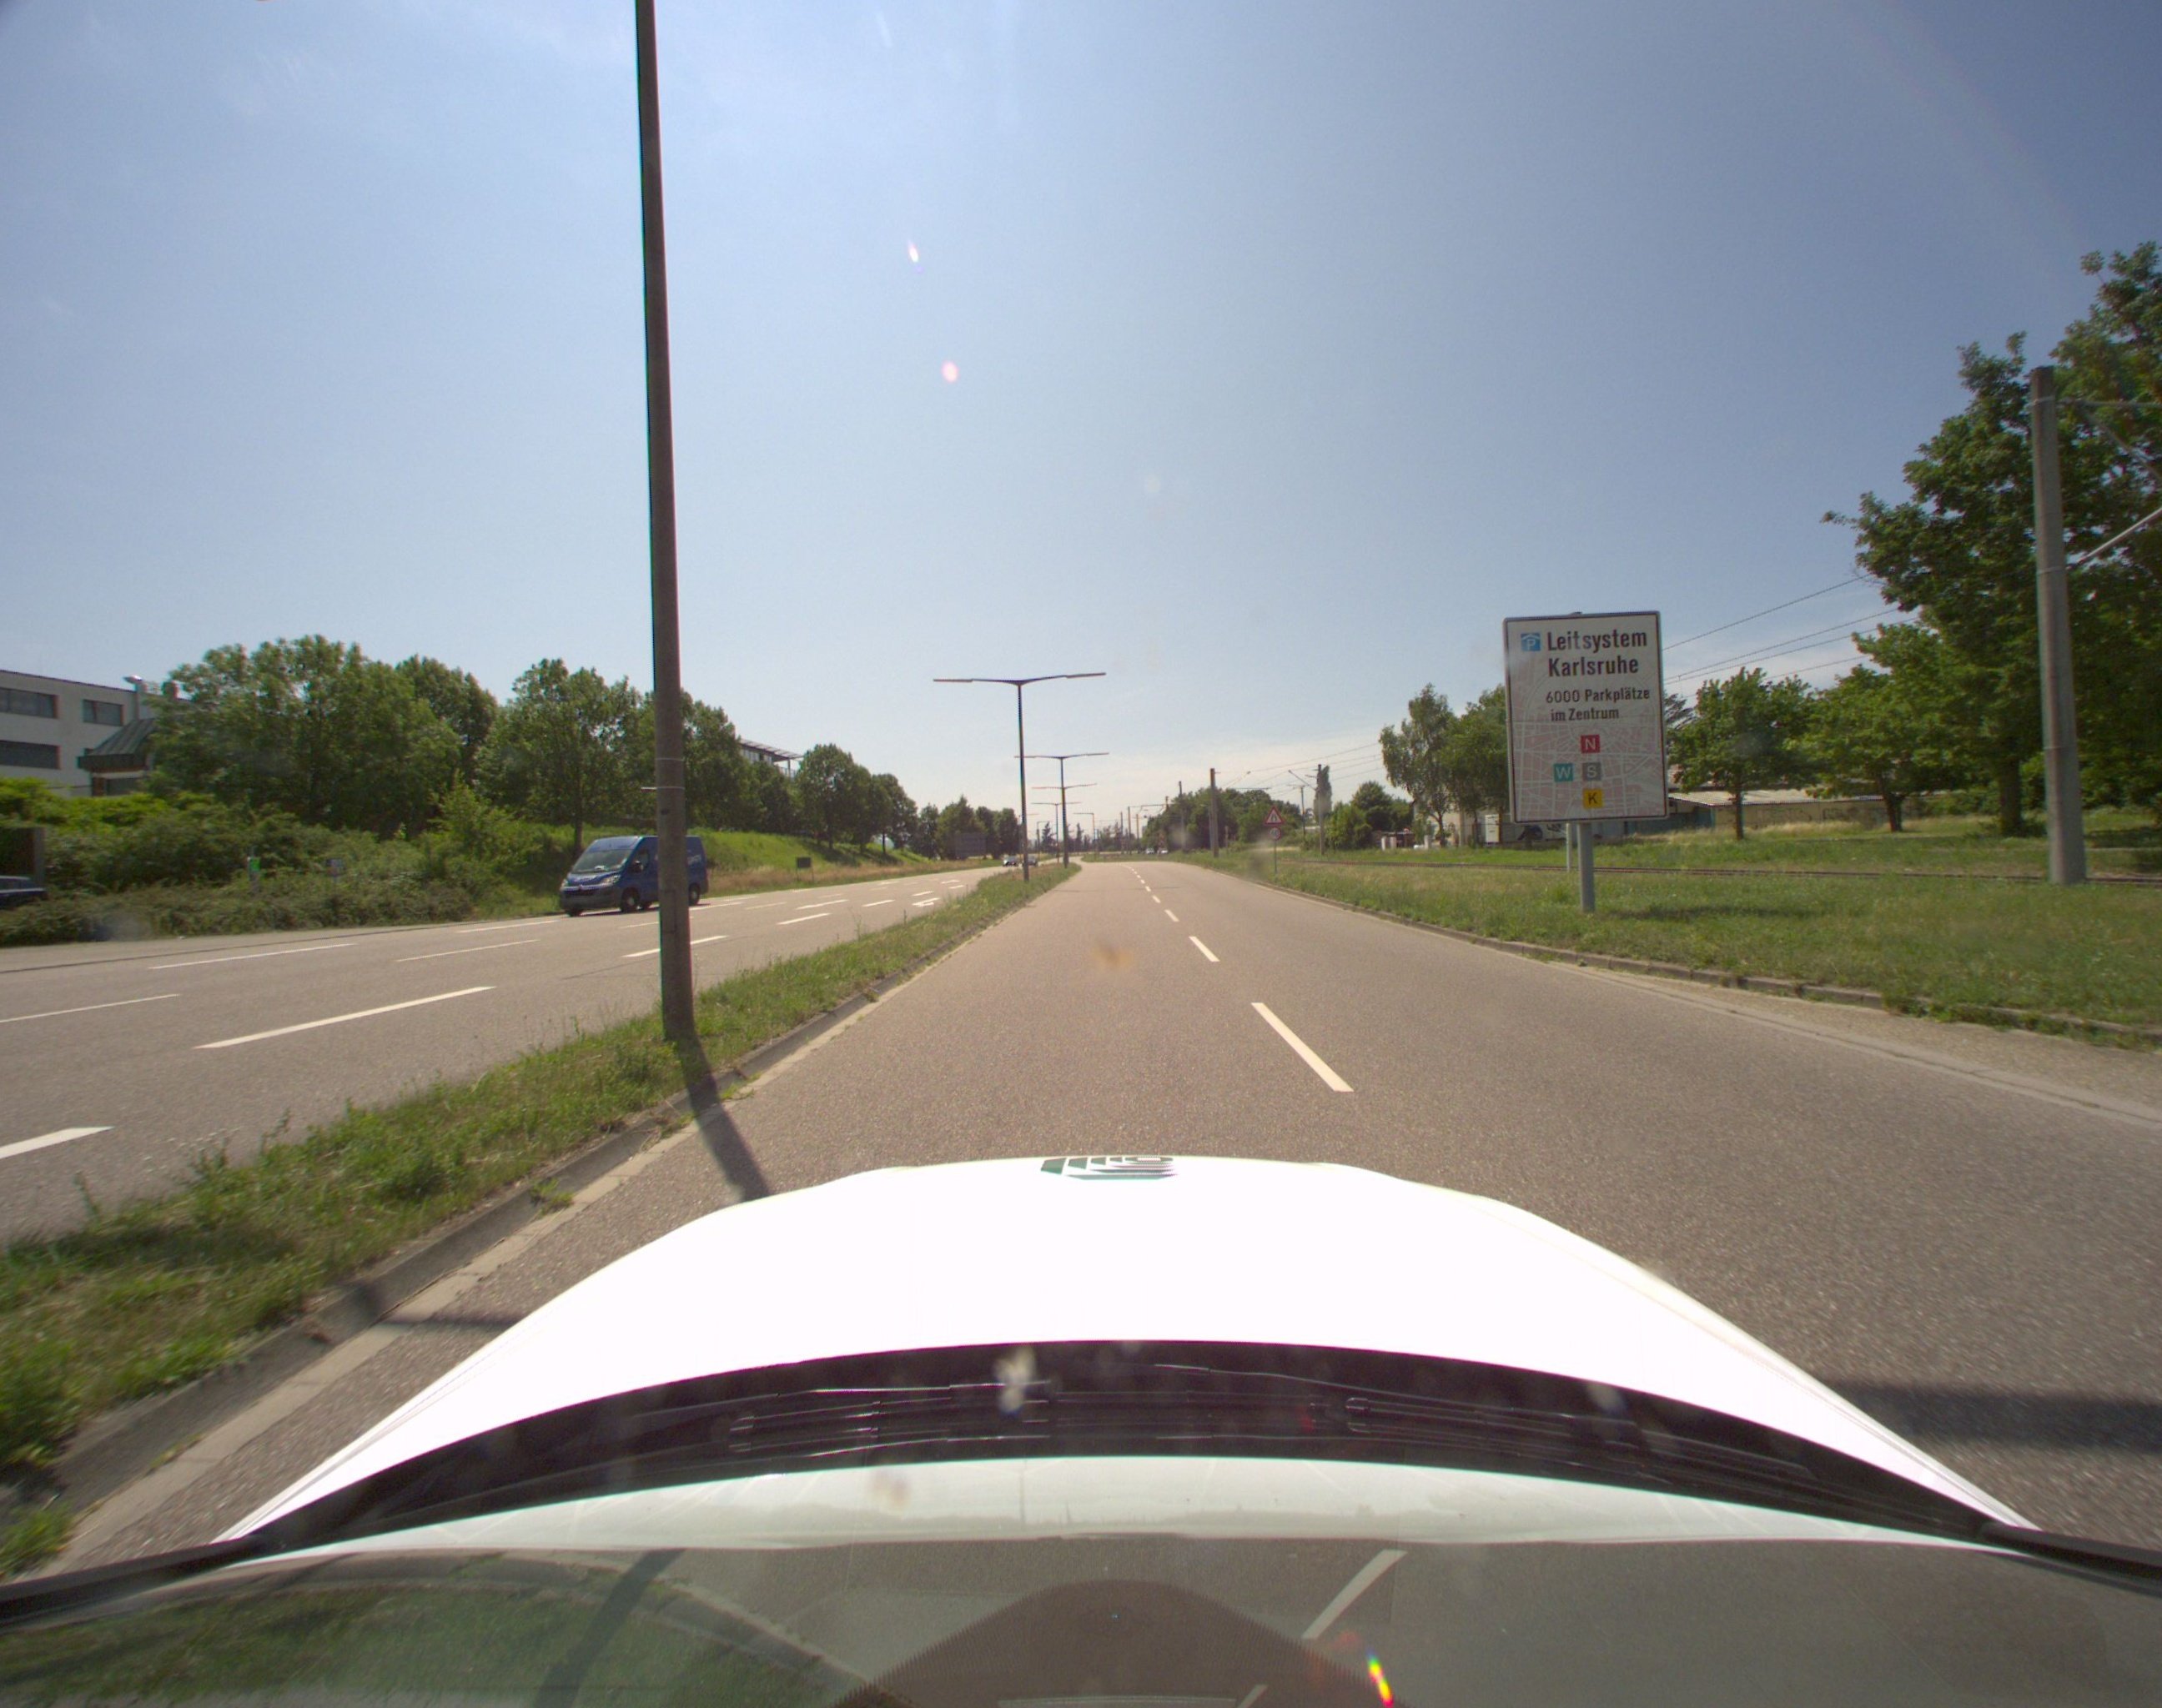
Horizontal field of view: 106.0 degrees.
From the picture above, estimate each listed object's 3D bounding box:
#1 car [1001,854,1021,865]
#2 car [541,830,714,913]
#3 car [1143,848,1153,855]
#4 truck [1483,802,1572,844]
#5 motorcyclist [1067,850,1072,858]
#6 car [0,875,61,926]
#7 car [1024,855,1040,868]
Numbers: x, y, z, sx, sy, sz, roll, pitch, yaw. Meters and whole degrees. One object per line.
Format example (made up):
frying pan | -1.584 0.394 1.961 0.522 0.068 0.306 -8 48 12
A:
car | -9.403 0.754 109.410 1.985 1.360 4.669 -3 0 3
car | -14.786 0.513 27.101 2.164 2.411 5.678 -2 0 4
car | 14.833 -0.559 181.336 1.668 1.397 3.645 -1 -1 -3
truck | 35.533 -2.443 64.847 5.835 2.843 2.314 -4 -1 -7
motorcyclist | -3.290 -0.034 235.899 1.225 2.351 1.108 -1 -1 4
car | -32.264 1.408 22.890 1.865 1.409 4.012 -2 0 10
car | -6.150 0.928 103.205 1.686 1.491 4.000 -2 0 0
